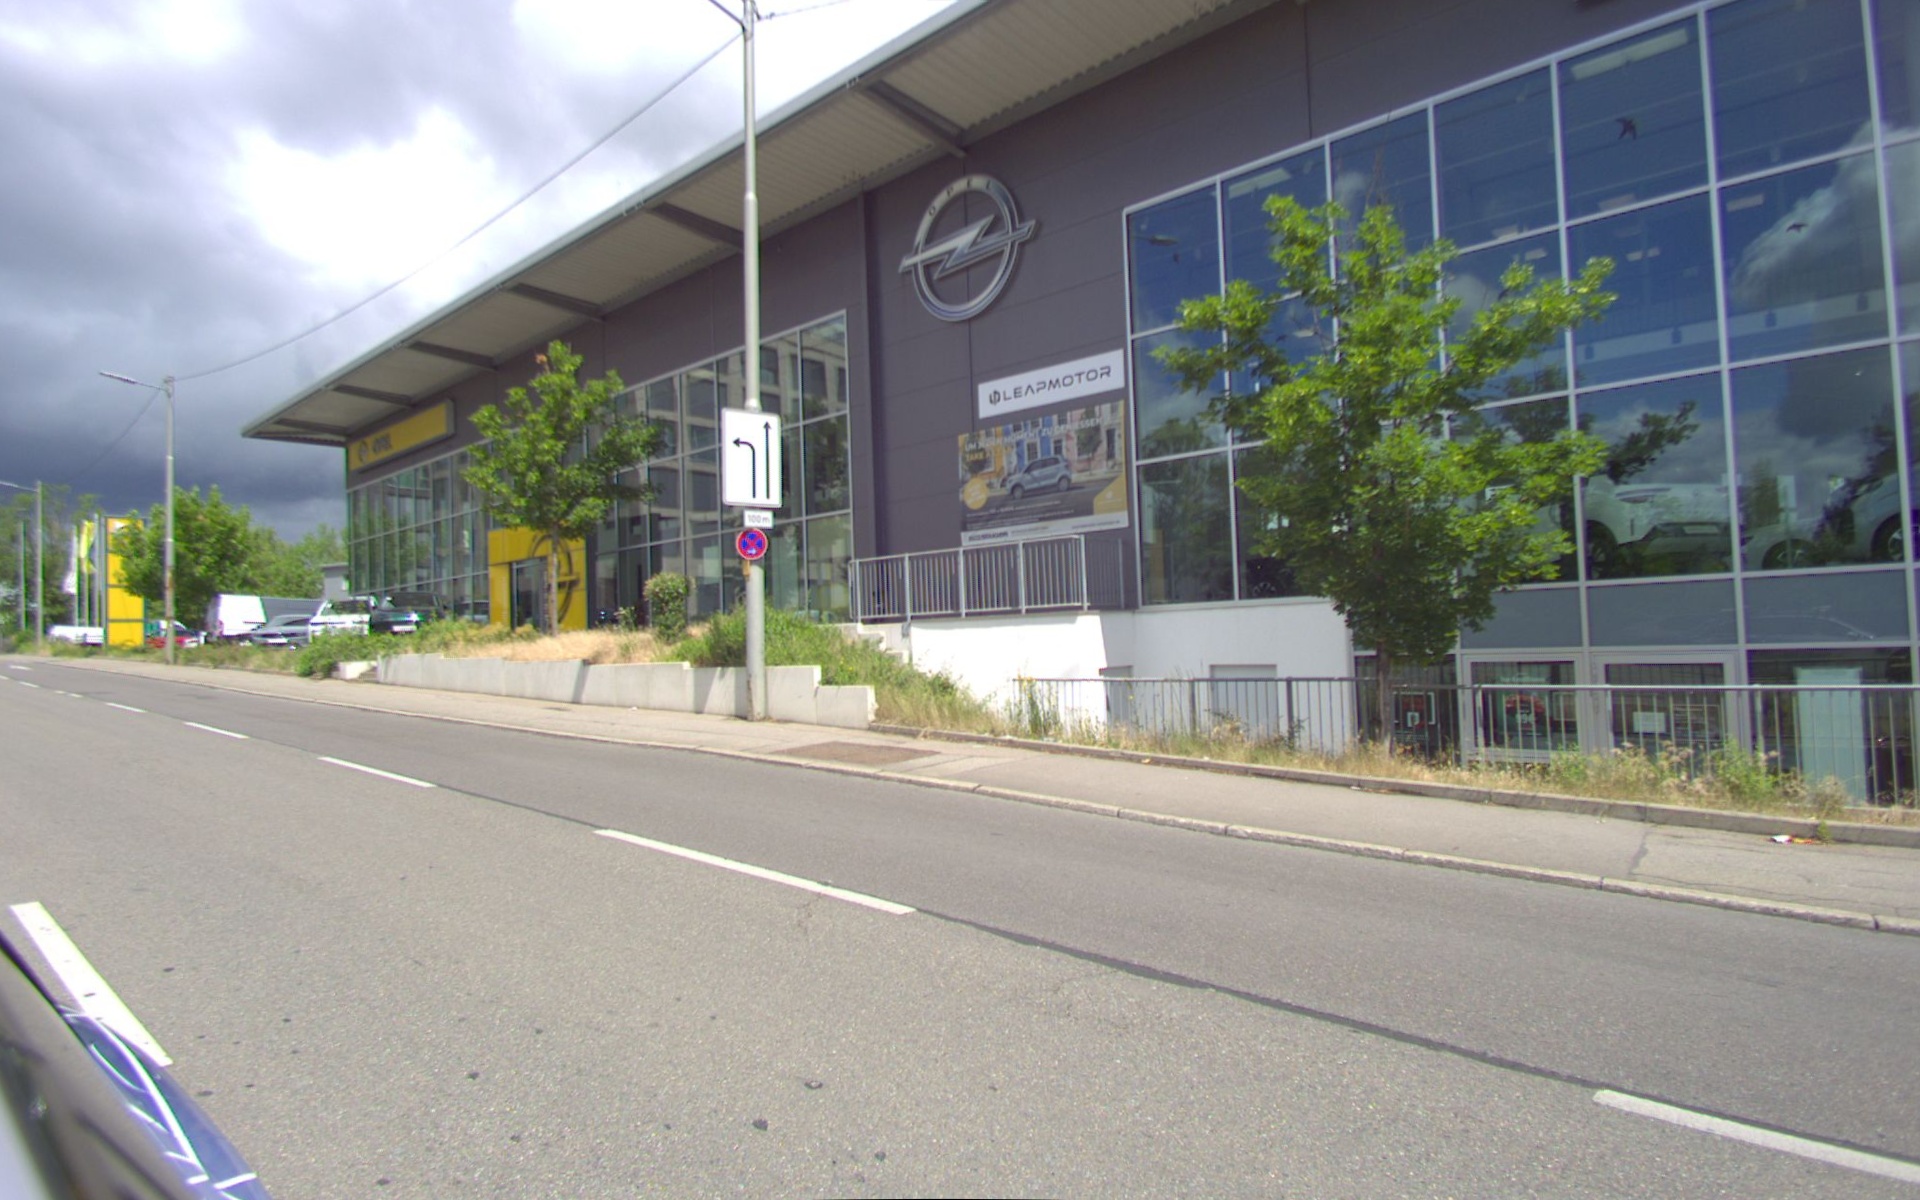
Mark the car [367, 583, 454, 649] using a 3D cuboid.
[{"bbox_3d":[-15.687,0.470,28.807,1.966,1.741,4.011,1,-2,-31],"label":"car"}]

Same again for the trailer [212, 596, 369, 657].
[{"bbox_3d":[-27.424,1.085,41.611,1.998,2.367,5.011,-1,-2,39],"label":"trailer"}]

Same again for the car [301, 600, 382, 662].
[{"bbox_3d":[-19.213,0.946,31.596,1.966,1.807,4.012,1,-2,-29],"label":"car"}]

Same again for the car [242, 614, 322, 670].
[{"bbox_3d":[-23.477,1.406,35.158,1.966,1.807,4.012,1,-1,-29],"label":"car"}]
